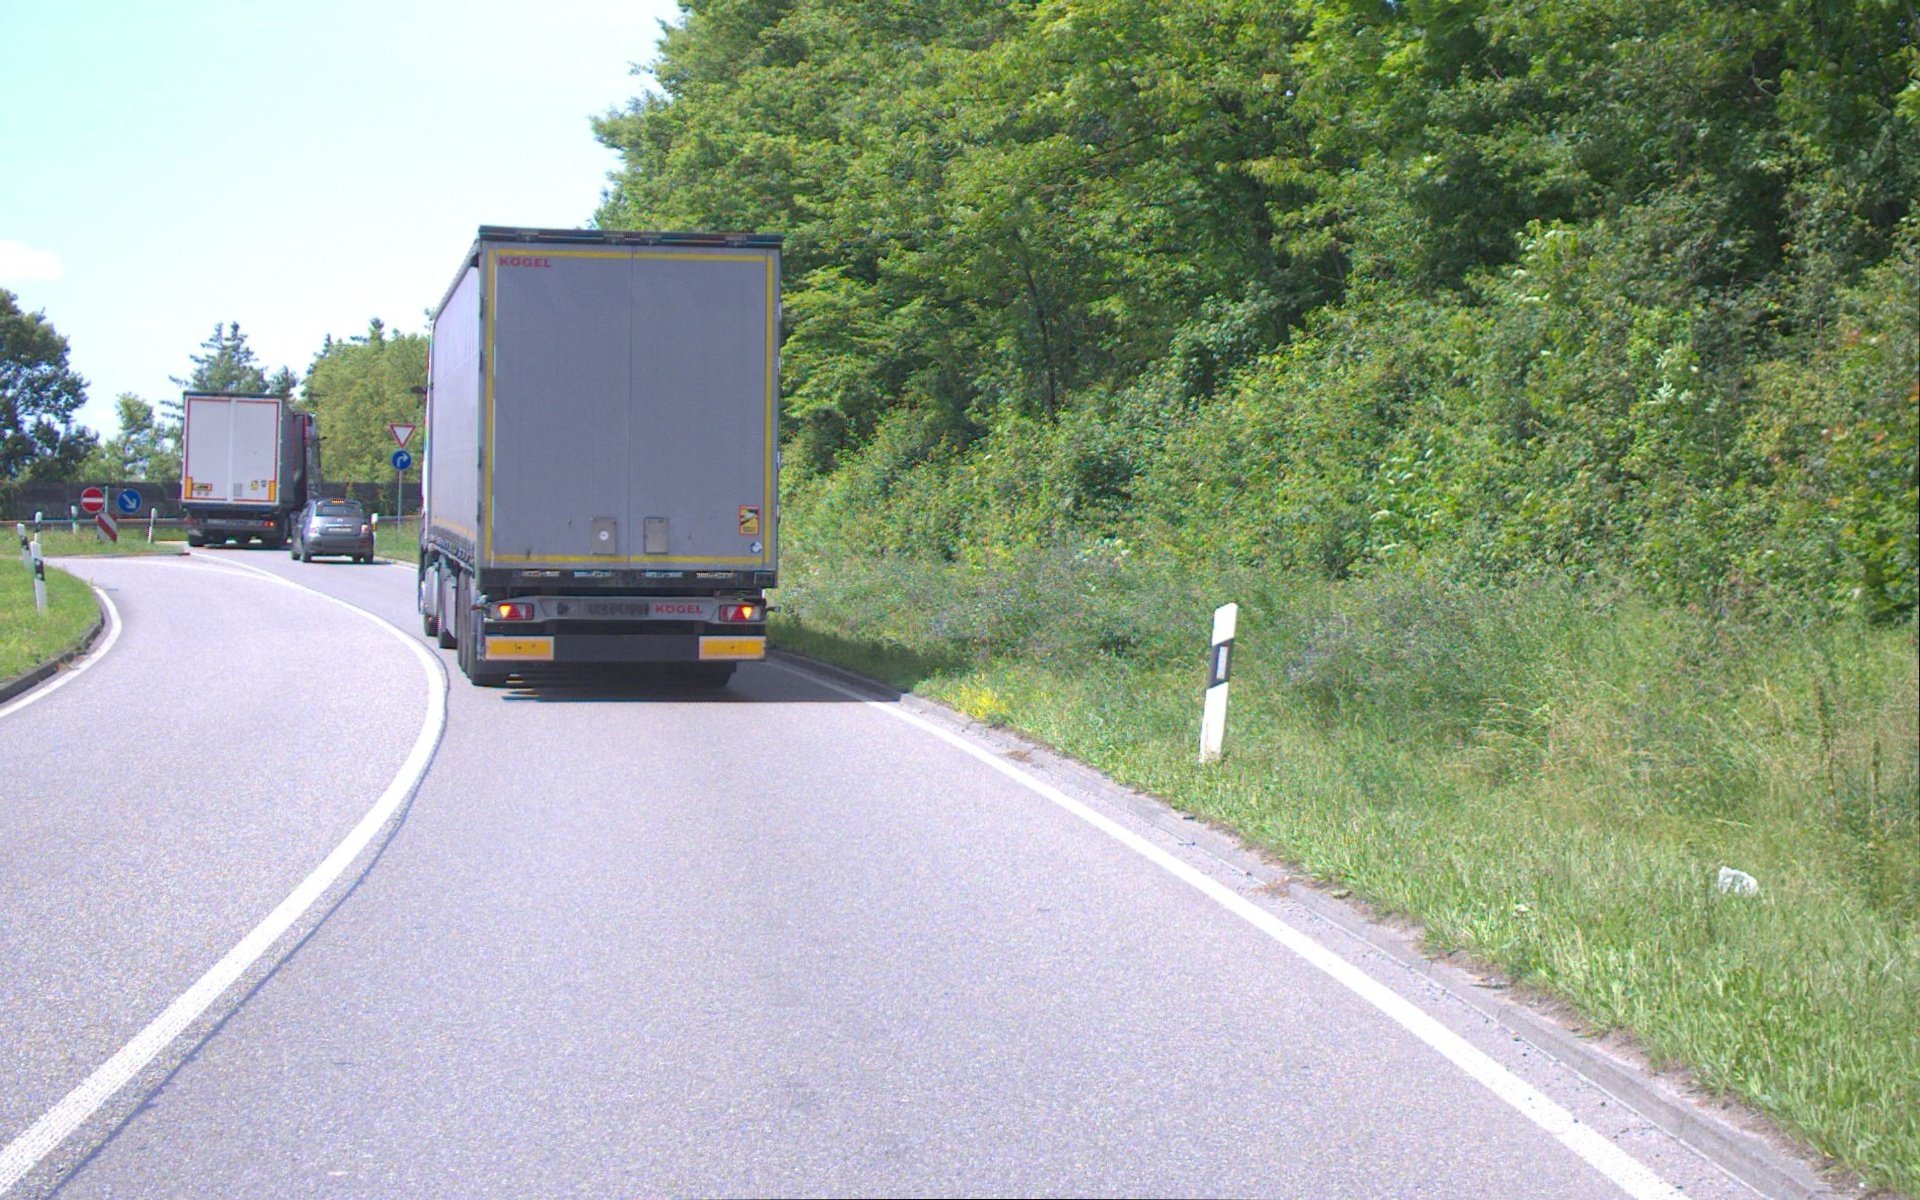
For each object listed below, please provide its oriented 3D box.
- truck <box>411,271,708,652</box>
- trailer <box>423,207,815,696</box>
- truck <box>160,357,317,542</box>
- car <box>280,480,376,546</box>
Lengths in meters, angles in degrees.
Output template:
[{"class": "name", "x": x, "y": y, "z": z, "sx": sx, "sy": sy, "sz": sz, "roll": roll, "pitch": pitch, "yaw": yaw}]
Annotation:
[{"class": "truck", "x": -5.035, "y": -1.597, "z": 42.037, "sx": 3.152, "sy": 4.210, "sz": 7.124, "roll": 1, "pitch": 1, "yaw": -10}, {"class": "trailer", "x": -3.857, "y": -1.349, "z": 35.201, "sx": 3.026, "sy": 4.021, "sz": 13.356, "roll": 0, "pitch": 1, "yaw": -10}, {"class": "truck", "x": -20.104, "y": -4.114, "z": 96.705, "sx": 3.827, "sy": 4.728, "sz": 16.208, "roll": 0, "pitch": 2, "yaw": -10}, {"class": "car", "x": -14.742, "y": -2.043, "z": 80.028, "sx": 1.665, "sy": 1.481, "sz": 4.002, "roll": 0, "pitch": 2, "yaw": -18}]
